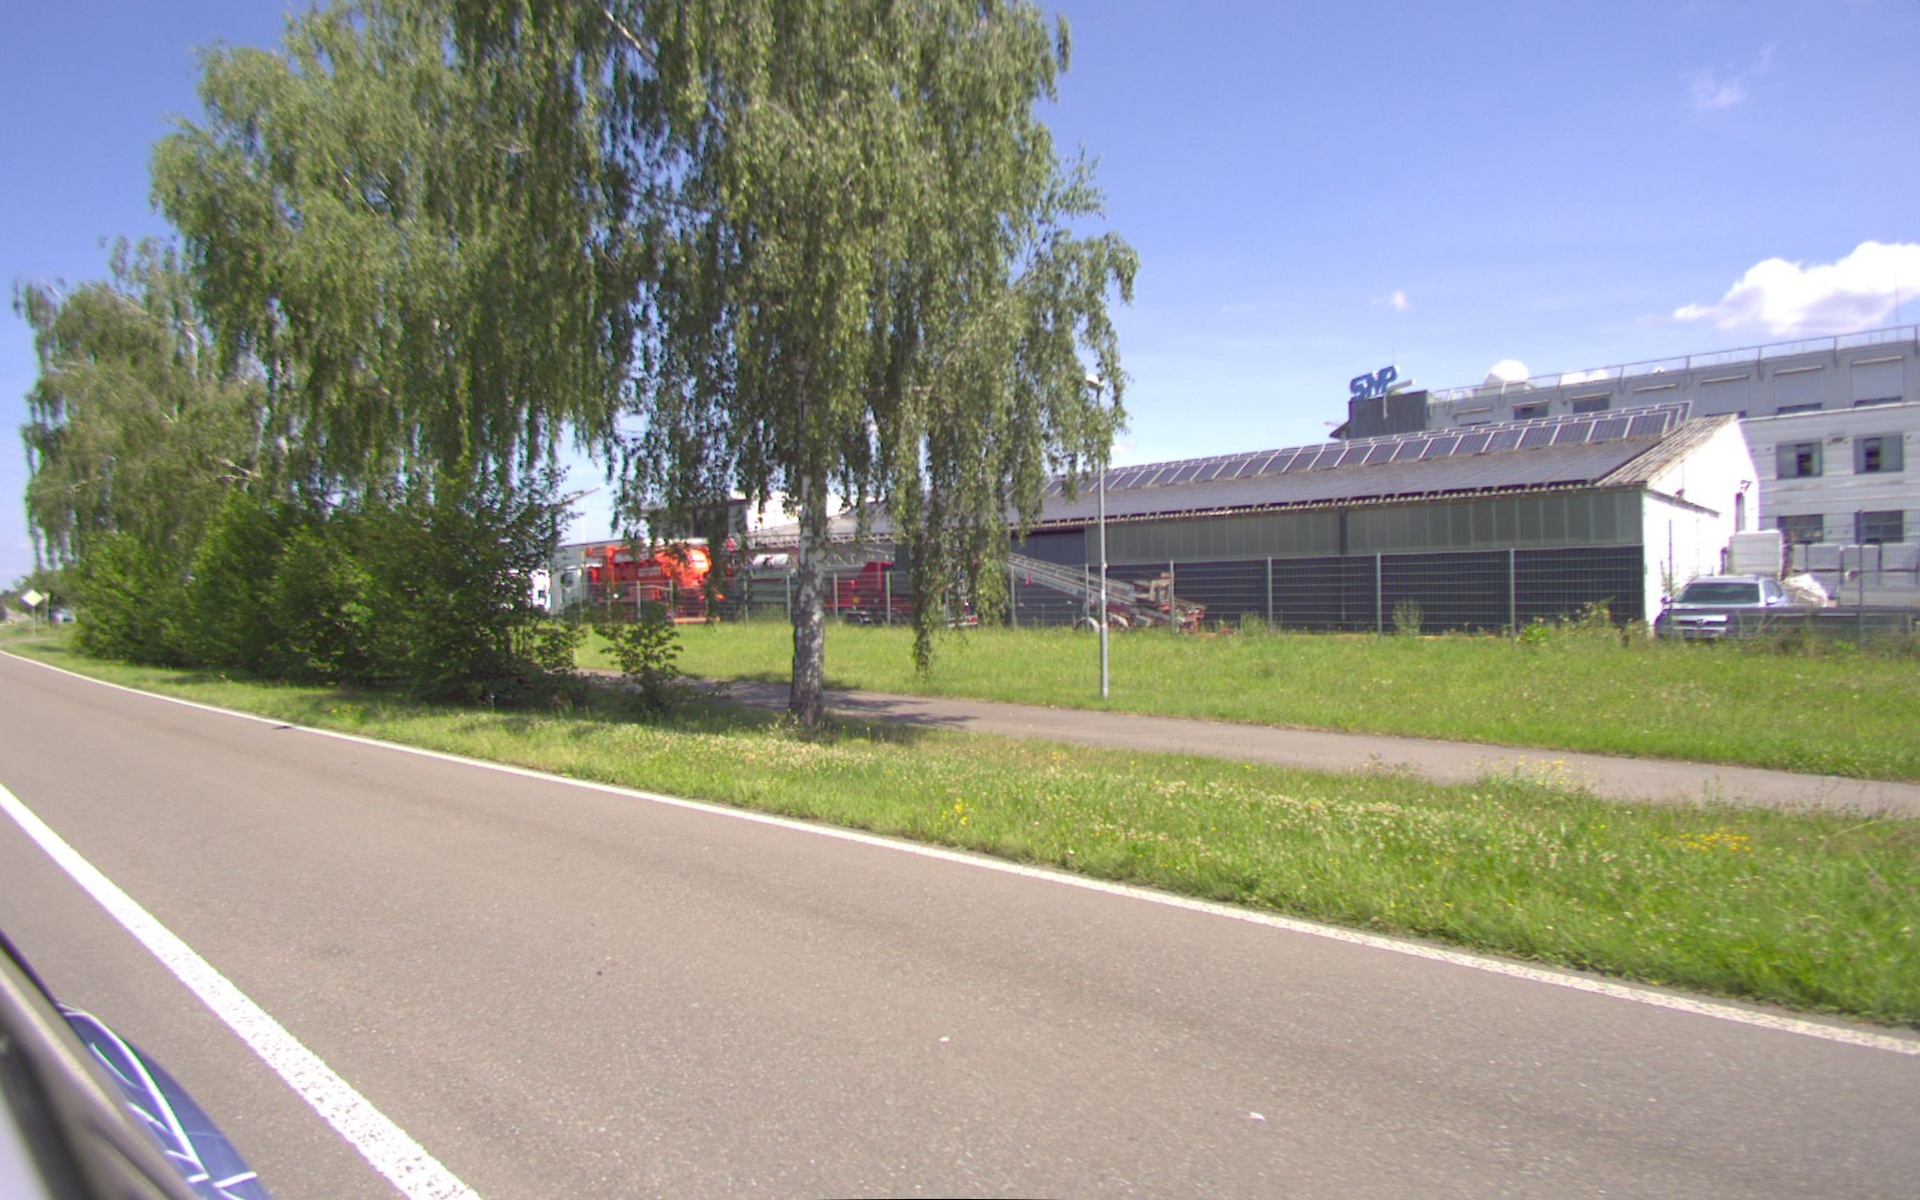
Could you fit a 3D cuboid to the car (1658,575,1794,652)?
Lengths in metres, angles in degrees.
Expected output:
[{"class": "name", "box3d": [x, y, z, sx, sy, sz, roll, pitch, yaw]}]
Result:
[{"class": "car", "box3d": [15.362, 0.228, 20.225, 1.747, 1.353, 3.943, -1, 0, 43]}]

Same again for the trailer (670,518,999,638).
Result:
[{"class": "trailer", "box3d": [-5.256, -0.595, 37.165, 14.927, 3.672, 3.254, -1, 0, 44]}]

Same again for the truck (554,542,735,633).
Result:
[{"class": "truck", "box3d": [-14.529, -0.455, 45.907, 10.595, 3.672, 3.067, -1, 0, 44]}]

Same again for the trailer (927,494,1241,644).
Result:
[{"class": "trailer", "box3d": [3.292, -0.725, 29.067, 8.660, 3.672, 3.362, -1, 0, 44]}]

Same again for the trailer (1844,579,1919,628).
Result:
[{"class": "trailer", "box3d": [23.680, 0.066, 25.599, 1.904, 1.175, 3.944, -1, 0, 42]}]
